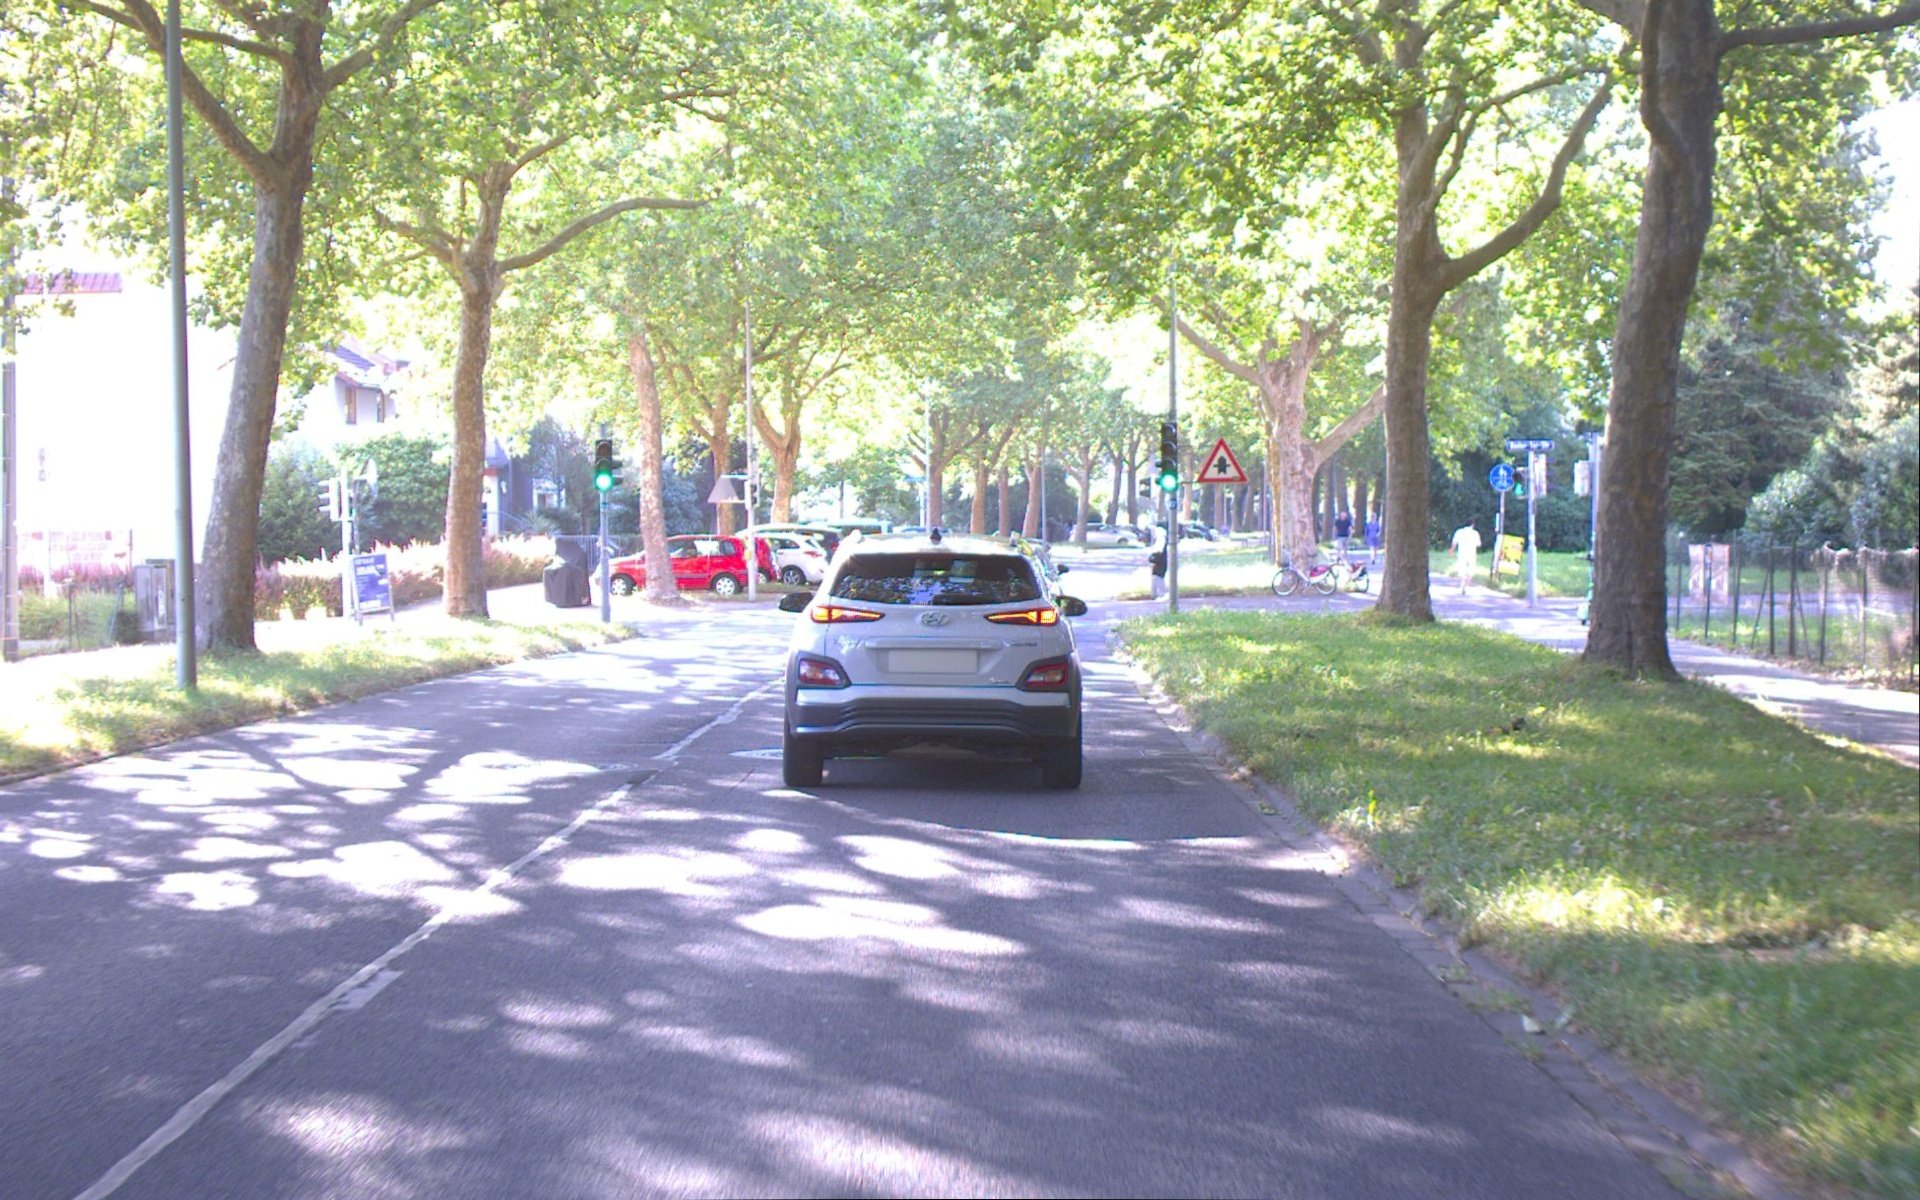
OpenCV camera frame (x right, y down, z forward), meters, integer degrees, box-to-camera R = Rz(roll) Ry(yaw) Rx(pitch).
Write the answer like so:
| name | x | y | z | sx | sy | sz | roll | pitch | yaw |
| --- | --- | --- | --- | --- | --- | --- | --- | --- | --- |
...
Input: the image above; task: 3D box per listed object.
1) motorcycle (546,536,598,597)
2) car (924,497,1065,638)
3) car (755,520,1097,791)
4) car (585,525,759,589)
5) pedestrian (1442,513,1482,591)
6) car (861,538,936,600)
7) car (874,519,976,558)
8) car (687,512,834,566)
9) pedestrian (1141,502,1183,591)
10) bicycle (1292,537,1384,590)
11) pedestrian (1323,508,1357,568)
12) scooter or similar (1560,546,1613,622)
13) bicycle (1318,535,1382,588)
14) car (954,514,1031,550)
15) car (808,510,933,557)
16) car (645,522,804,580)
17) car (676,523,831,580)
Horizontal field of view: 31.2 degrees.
| name | x | y | z | sx | sy | sz | roll | pitch | yaw |
| --- | --- | --- | --- | --- | --- | --- | --- | --- | --- |
| motorcycle | -8.913 | -0.766 | 79.035 | 0.846 | 1.374 | 2.776 | 1 | 1 | 1 |
| car | 0.477 | -0.495 | 51.445 | 1.993 | 2.007 | 4.000 | 1 | 1 | -1 |
| car | -0.173 | 0.298 | 22.185 | 1.993 | 1.569 | 4.000 | 1 | 1 | 1 |
| car | -6.966 | -1.047 | 83.441 | 3.987 | 1.473 | 2.000 | 1 | 1 | 2 |
| pedestrian | 11.238 | -1.067 | 76.973 | 0.834 | 1.730 | 0.884 | 1 | 1 | 10 |
| car | -1.508 | -0.781 | 85.448 | 1.688 | 1.432 | 3.682 | 1 | 2 | 2 |
| car | -1.376 | -2.437 | 136.925 | 3.987 | 1.473 | 2.000 | 1 | 1 | 2 |
| car | -5.626 | -1.716 | 97.282 | 3.987 | 1.473 | 2.000 | 1 | 1 | 2 |
| pedestrian | 4.605 | -1.221 | 78.302 | 0.868 | 2.007 | 0.813 | 1 | 1 | 10 |
| bicycle | 8.357 | -0.806 | 76.045 | 0.603 | 1.160 | 2.149 | 0 | 1 | -42 |
| pedestrian | 12.885 | -2.101 | 116.640 | 1.095 | 2.007 | 1.105 | 1 | 1 | 8 |
| scooter or similar | 10.541 | -0.273 | 57.900 | 0.549 | 1.254 | 2.313 | 1 | 1 | 2 |
| bicycle | 8.772 | -0.871 | 77.332 | 0.603 | 1.179 | 2.119 | 0 | 1 | -18 |
| car | 1.649 | -3.439 | 174.692 | 3.668 | 1.802 | 1.749 | 0 | 1 | -8 |
| car | -2.924 | -2.177 | 112.843 | 3.987 | 1.473 | 2.000 | 1 | 1 | 2 |
| car | -6.201 | -1.305 | 90.944 | 3.987 | 1.473 | 2.000 | 1 | 1 | 2 |
| car | -5.581 | -1.316 | 93.281 | 3.987 | 1.473 | 2.000 | 1 | 1 | 4 |
